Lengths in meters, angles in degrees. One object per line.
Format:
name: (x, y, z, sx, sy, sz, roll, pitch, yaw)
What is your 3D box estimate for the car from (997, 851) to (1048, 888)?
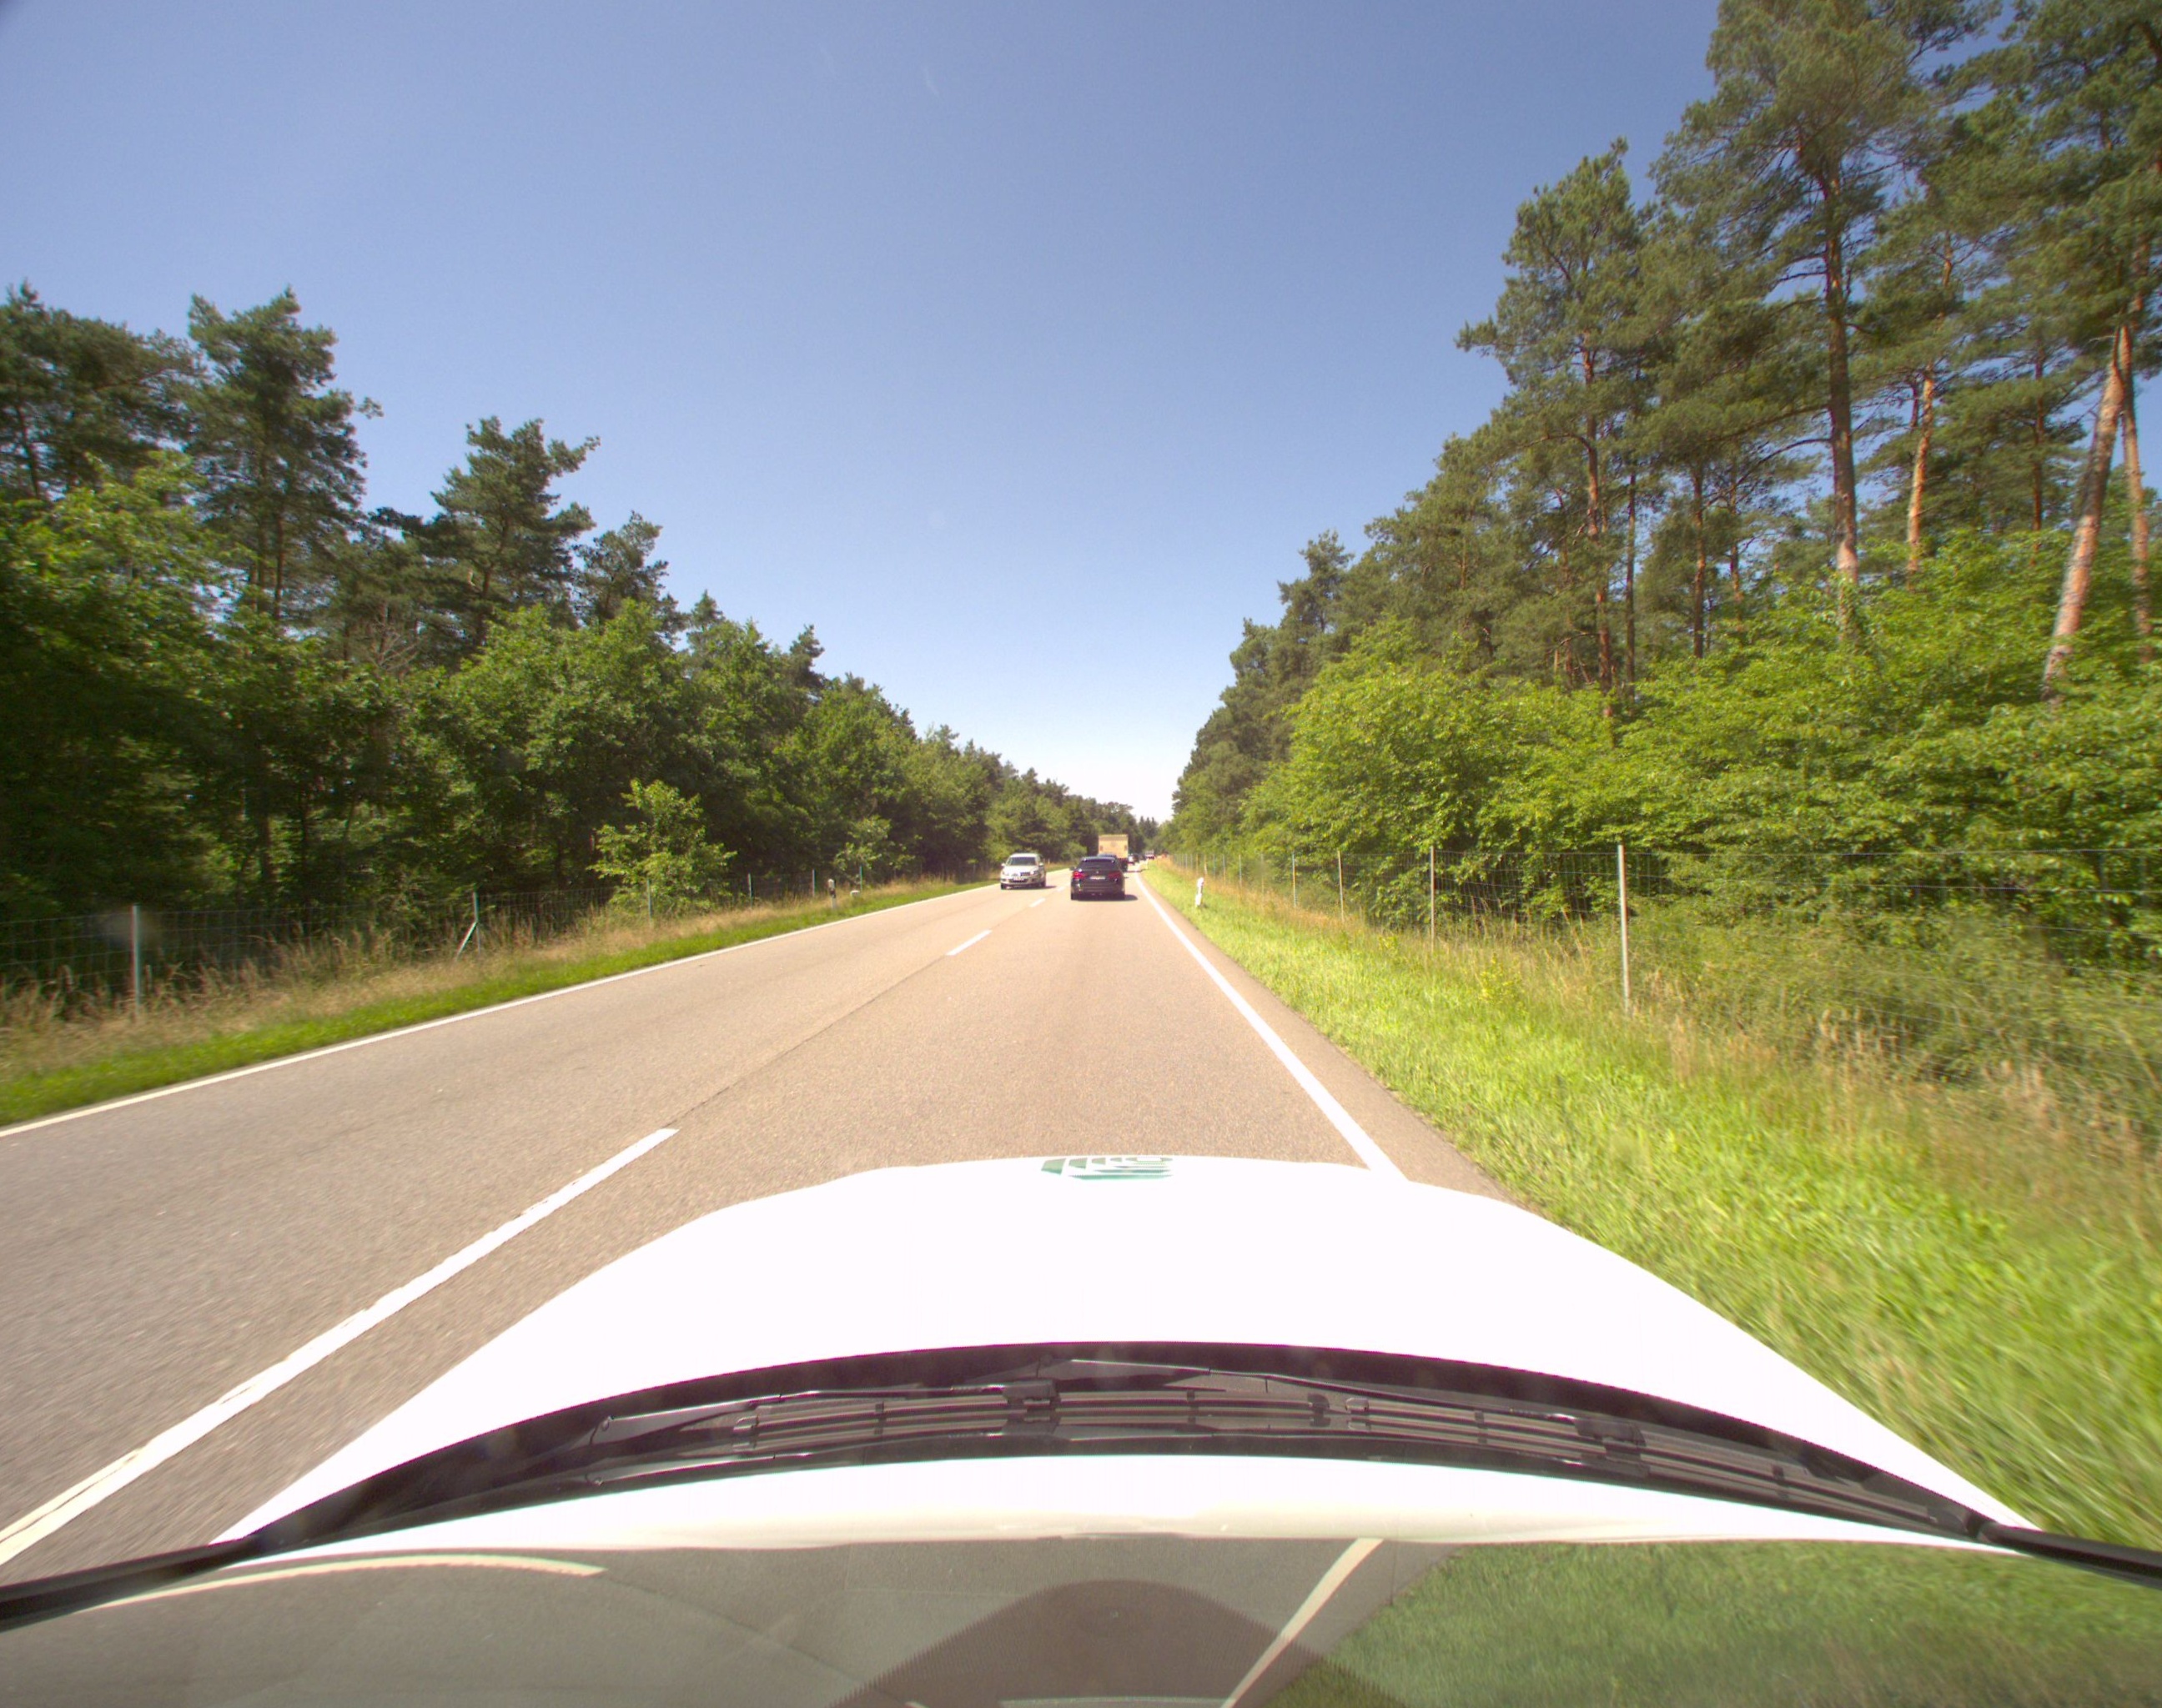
car: (-2.717, 0.694, 38.574, 1.855, 1.629, 4.096, -1, 0, 3)

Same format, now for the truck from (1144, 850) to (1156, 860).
truck: (17.201, 0.255, 203.143, 2.550, 2.202, 4.983, -2, 0, 7)

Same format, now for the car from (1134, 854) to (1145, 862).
car: (12.751, 0.958, 177.360, 1.983, 1.636, 4.007, -2, 0, 6)

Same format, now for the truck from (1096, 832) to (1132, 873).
truck: (2.906, -0.121, 72.191, 2.955, 3.387, 6.440, -2, 0, 1)

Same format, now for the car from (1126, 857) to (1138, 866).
car: (8.879, 1.238, 141.142, 1.985, 1.420, 4.003, -2, 0, 3)

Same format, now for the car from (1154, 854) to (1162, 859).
car: (22.002, 0.805, 232.860, 1.784, 1.354, 3.939, -2, 0, 10)

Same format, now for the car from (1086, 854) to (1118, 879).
car: (1.434, 0.791, 53.706, 1.939, 1.542, 4.003, -2, 0, 3)

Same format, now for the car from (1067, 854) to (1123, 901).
car: (0.498, 0.776, 28.621, 1.814, 1.470, 4.001, -1, 0, 1)

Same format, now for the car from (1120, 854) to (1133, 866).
car: (6.462, 0.896, 116.041, 1.855, 1.605, 4.003, -2, 0, 3)
